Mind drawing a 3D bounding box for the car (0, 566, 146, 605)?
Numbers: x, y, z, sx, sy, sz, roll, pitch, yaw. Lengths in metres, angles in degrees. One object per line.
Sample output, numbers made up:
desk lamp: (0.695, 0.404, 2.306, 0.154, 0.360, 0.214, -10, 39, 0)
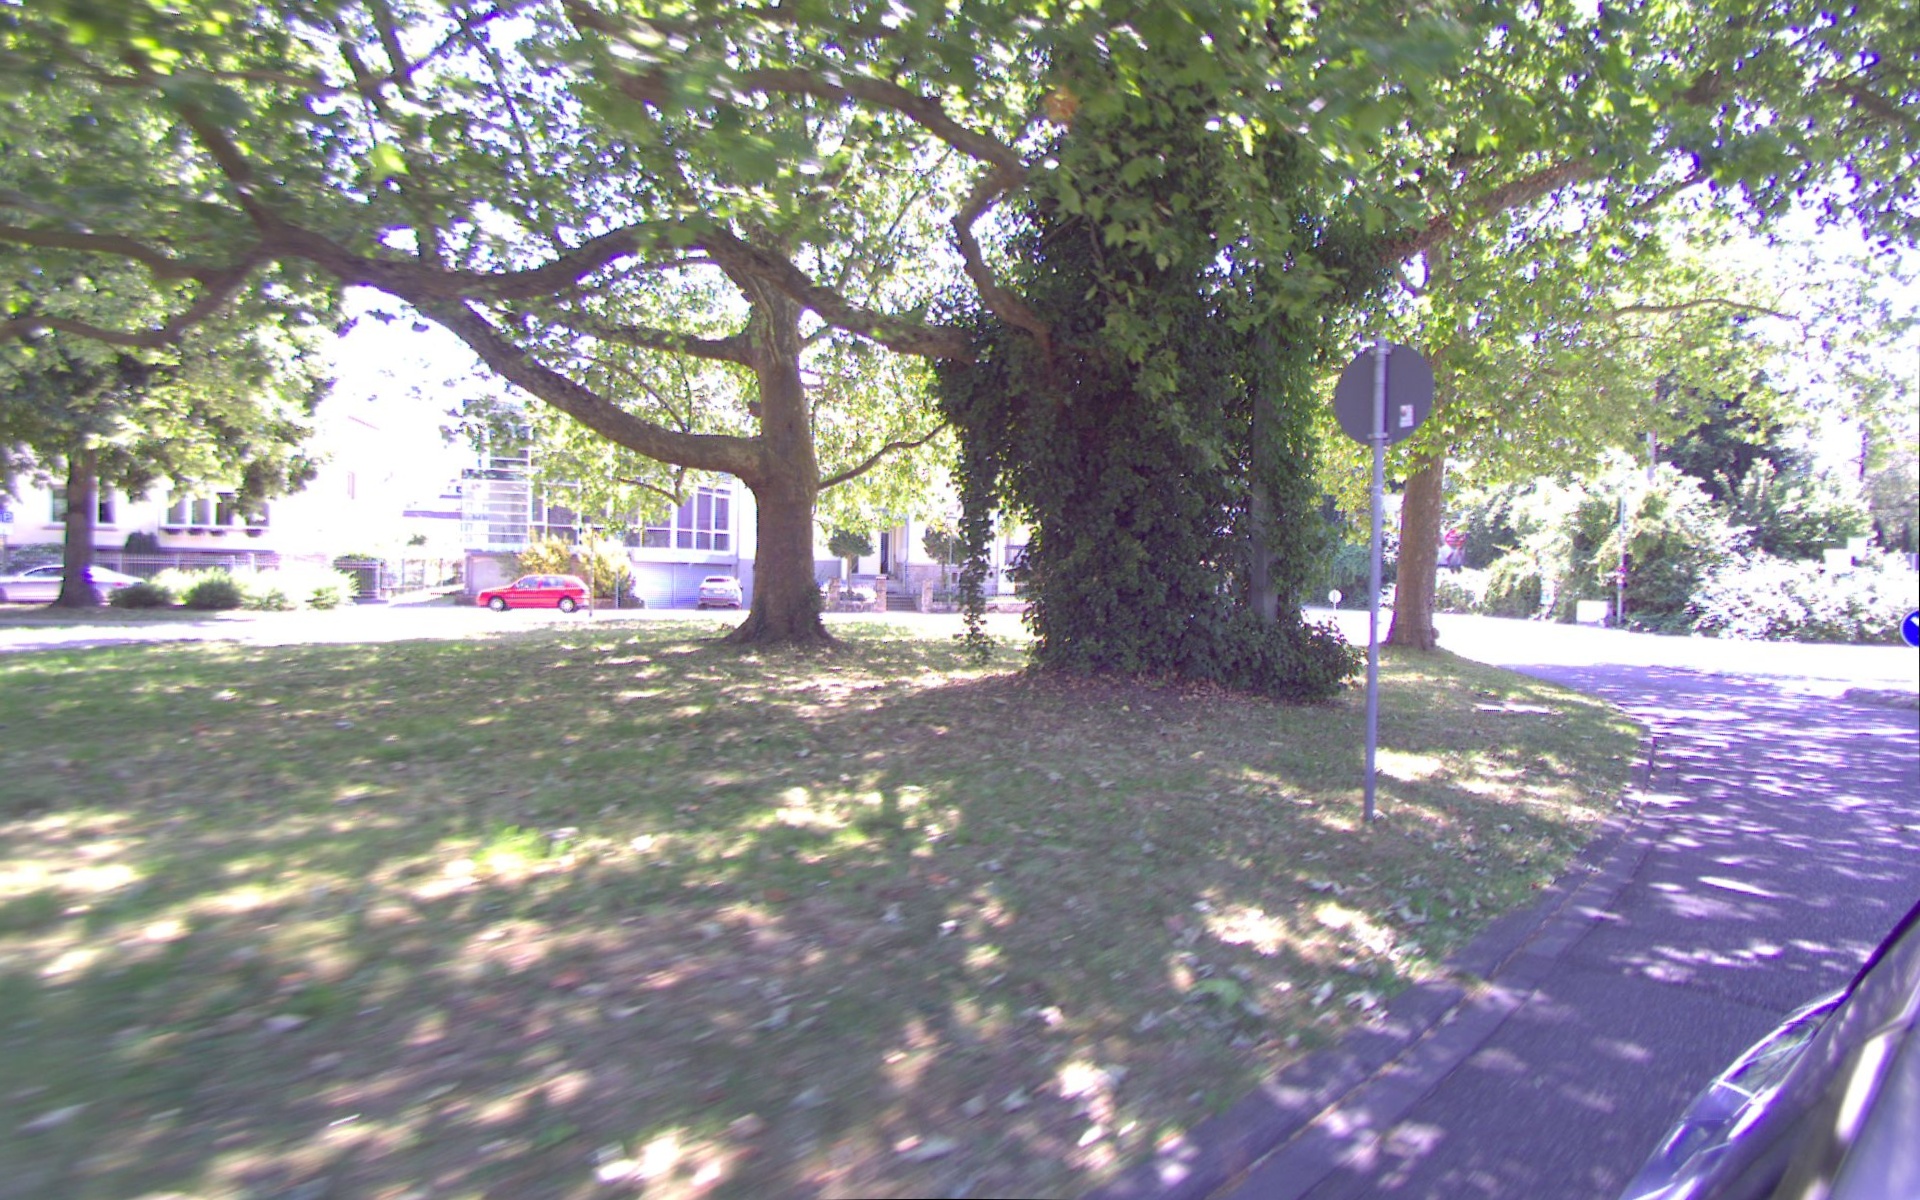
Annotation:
car: (-31.007, -0.516, 34.650, 4.616, 1.303, 1.675, 0, 2, -15)

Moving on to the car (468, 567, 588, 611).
car: (-16.045, -0.410, 37.806, 3.915, 1.543, 1.757, 1, 0, -16)

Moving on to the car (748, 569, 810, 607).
car: (-8.171, -0.573, 45.374, 1.958, 1.587, 4.009, 1, 1, -21)

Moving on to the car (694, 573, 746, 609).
car: (-10.237, -0.423, 43.474, 1.959, 1.408, 4.008, -1, 2, -10)
